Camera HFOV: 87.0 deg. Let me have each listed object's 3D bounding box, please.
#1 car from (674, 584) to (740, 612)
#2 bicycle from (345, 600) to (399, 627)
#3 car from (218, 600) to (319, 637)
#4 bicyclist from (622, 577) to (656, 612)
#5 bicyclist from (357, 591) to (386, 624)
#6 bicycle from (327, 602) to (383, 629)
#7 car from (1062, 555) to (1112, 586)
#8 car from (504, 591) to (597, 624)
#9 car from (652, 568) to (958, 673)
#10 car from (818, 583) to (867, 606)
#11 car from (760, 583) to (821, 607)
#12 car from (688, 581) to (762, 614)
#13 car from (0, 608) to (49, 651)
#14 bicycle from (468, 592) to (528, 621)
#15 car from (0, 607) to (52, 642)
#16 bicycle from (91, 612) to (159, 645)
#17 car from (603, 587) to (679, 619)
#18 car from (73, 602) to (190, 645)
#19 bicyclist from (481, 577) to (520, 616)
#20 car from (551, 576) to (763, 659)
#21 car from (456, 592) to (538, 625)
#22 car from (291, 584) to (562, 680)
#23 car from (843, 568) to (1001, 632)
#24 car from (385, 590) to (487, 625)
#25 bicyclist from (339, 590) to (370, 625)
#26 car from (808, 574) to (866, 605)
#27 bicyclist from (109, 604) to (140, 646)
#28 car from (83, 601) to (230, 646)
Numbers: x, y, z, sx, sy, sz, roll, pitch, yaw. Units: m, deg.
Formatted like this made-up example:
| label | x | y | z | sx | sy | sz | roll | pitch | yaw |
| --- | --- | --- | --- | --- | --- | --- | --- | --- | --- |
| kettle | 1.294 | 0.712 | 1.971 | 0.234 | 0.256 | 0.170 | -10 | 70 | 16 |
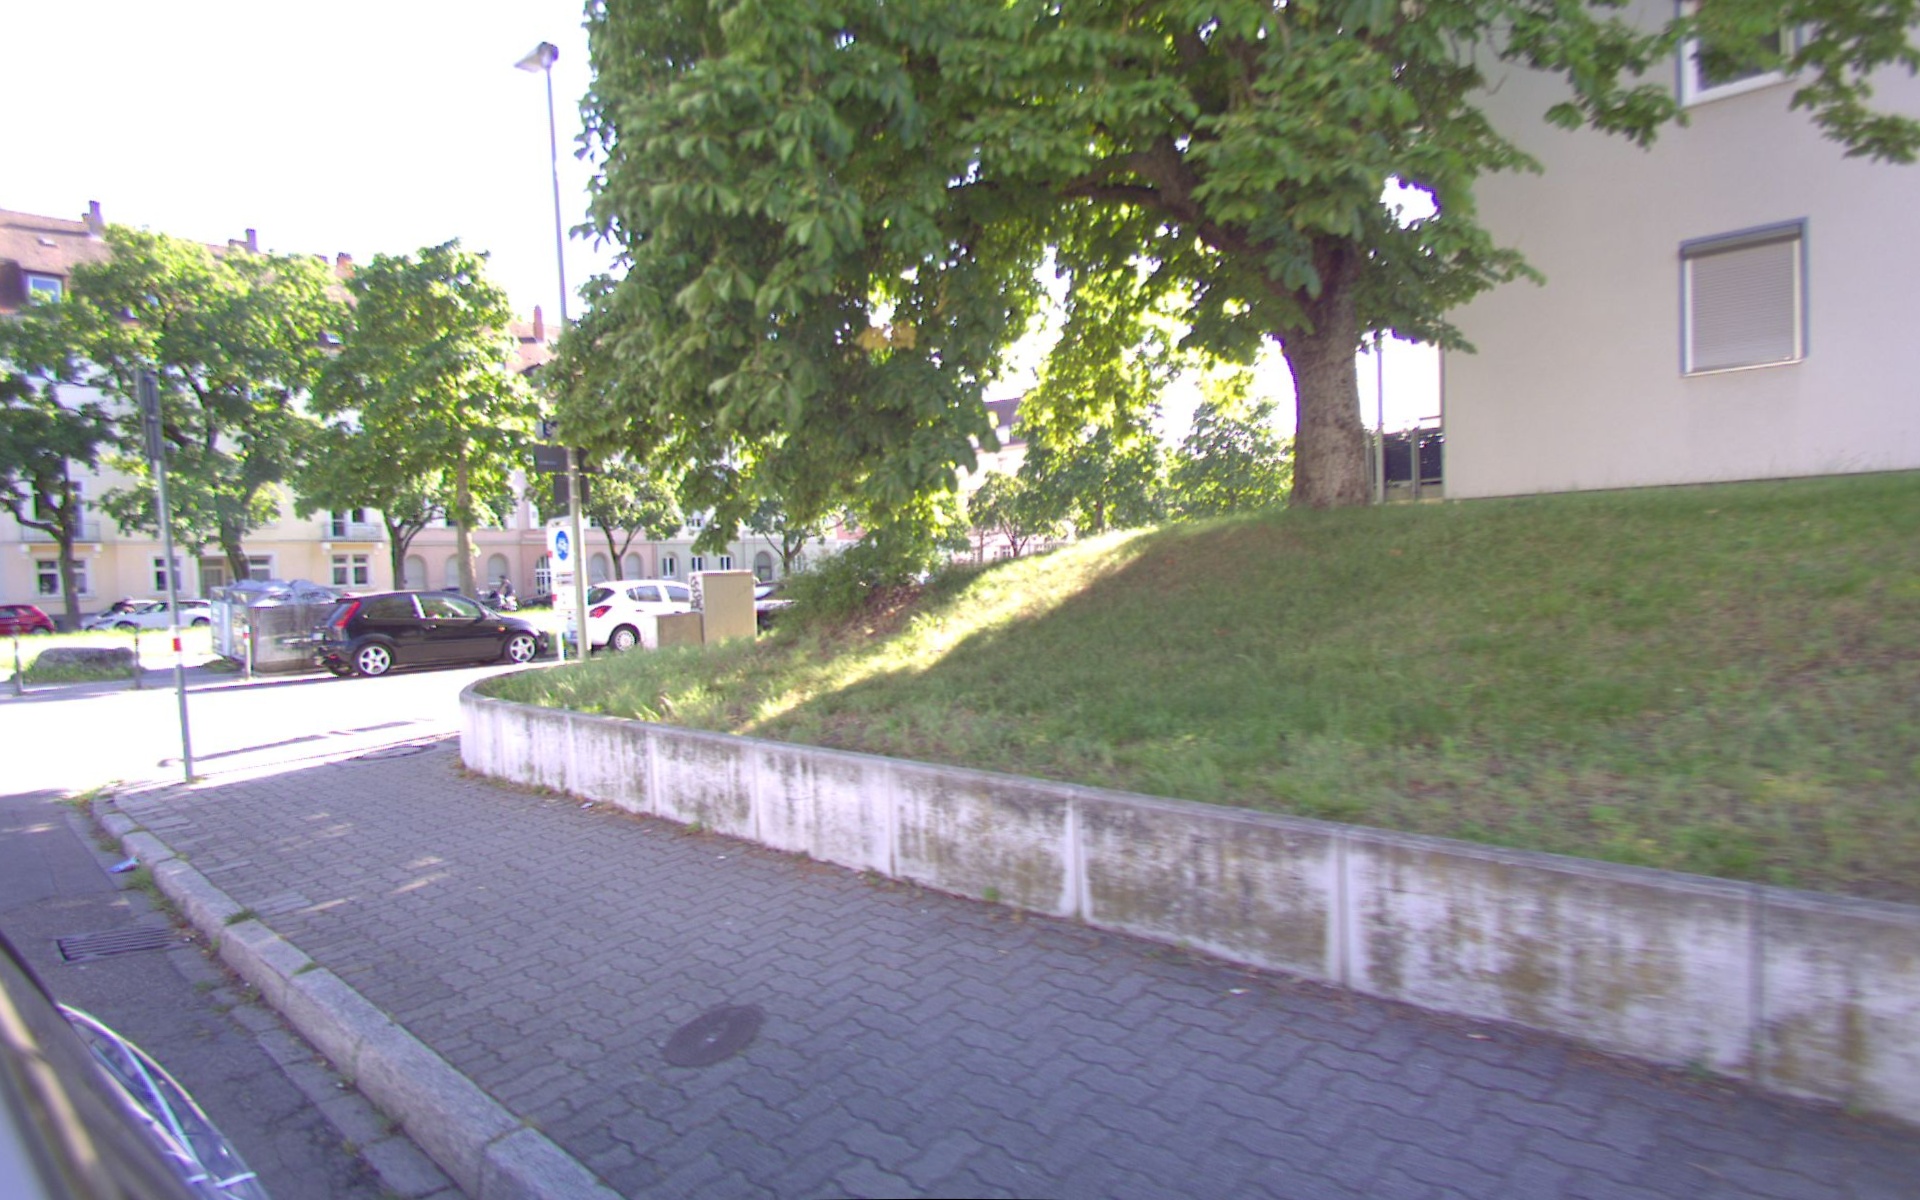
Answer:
| label | x | y | z | sx | sy | sz | roll | pitch | yaw |
| --- | --- | --- | --- | --- | --- | --- | --- | --- | --- |
| car | -17.544 | -0.180 | 70.272 | 1.947 | 1.764 | 3.971 | -1 | 2 | 42 |
| bicycle | -26.563 | 0.592 | 45.761 | 0.734 | 1.087 | 1.929 | -1 | 2 | 41 |
| car | -34.840 | 0.918 | 51.052 | 1.890 | 1.627 | 3.808 | -1 | 2 | 42 |
| bicyclist | -17.468 | -0.291 | 55.021 | 0.944 | 1.851 | 1.429 | -2 | 0 | 42 |
| bicyclist | -26.624 | 0.323 | 45.769 | 0.740 | 1.448 | 0.929 | -2 | 0 | 43 |
| bicycle | -26.347 | 0.663 | 44.106 | 0.734 | 1.087 | 1.929 | -1 | 2 | 41 |
| car | 11.871 | -2.757 | 94.398 | 1.920 | 2.764 | 5.550 | -1 | 2 | 40 |
| car | -22.633 | 0.384 | 56.085 | 1.761 | 1.560 | 4.468 | -1 | 2 | 40 |
| car | -2.377 | 0.286 | 16.330 | 2.133 | 1.347 | 4.441 | -4 | 0 | 44 |
| car | -8.330 | -0.399 | 71.816 | 1.385 | 1.451 | 3.294 | -1 | 2 | 44 |
| car | -11.439 | -0.334 | 68.393 | 1.700 | 1.439 | 3.720 | -1 | 2 | 44 |
| car | -14.947 | -0.183 | 64.539 | 1.741 | 1.922 | 4.402 | -1 | 2 | 40 |
| car | -41.920 | 1.331 | 43.435 | 2.000 | 1.764 | 3.997 | -1 | 2 | 44 |
| bicycle | -22.789 | 0.315 | 49.952 | 0.811 | 1.261 | 2.604 | -1 | 2 | 34 |
| car | -37.722 | 1.001 | 39.292 | 1.698 | 1.289 | 3.479 | -1 | 2 | 40 |
| bicycle | -35.858 | 1.211 | 43.463 | 0.714 | 1.268 | 2.125 | -1 | 2 | 41 |
| car | -18.926 | 0.147 | 60.108 | 1.636 | 1.699 | 4.027 | -1 | 2 | 40 |
| car | -38.522 | 1.059 | 47.101 | 1.869 | 1.770 | 3.945 | -1 | 2 | 42 |
| bicyclist | -22.711 | -0.181 | 50.082 | 0.942 | 1.851 | 1.433 | -2 | 0 | 35 |
| car | -6.256 | 0.332 | 21.142 | 1.783 | 1.506 | 3.819 | -3 | 0 | 44 |
| car | -27.125 | 0.469 | 59.381 | 3.942 | 1.714 | 1.853 | -4 | 2 | -45 |
| car | -9.352 | 0.526 | 17.943 | 1.754 | 1.435 | 3.860 | -4 | -1 | 44 |
| car | -0.945 | -0.033 | 26.869 | 1.786 | 1.472 | 4.068 | -1 | 2 | 44 |
| car | -26.557 | 0.345 | 51.403 | 1.636 | 1.560 | 4.297 | -1 | 2 | 40 |
| bicyclist | -26.380 | 0.326 | 44.085 | 0.740 | 1.448 | 0.929 | -2 | 0 | 43 |
| car | -9.571 | -0.826 | 78.896 | 1.781 | 2.275 | 4.403 | -1 | 2 | 41 |
| bicyclist | -35.863 | 1.067 | 43.453 | 0.632 | 1.703 | 0.867 | -1 | 2 | 41 |
| car | -34.218 | 0.962 | 43.184 | 1.698 | 1.573 | 4.635 | -1 | 2 | 40 |
